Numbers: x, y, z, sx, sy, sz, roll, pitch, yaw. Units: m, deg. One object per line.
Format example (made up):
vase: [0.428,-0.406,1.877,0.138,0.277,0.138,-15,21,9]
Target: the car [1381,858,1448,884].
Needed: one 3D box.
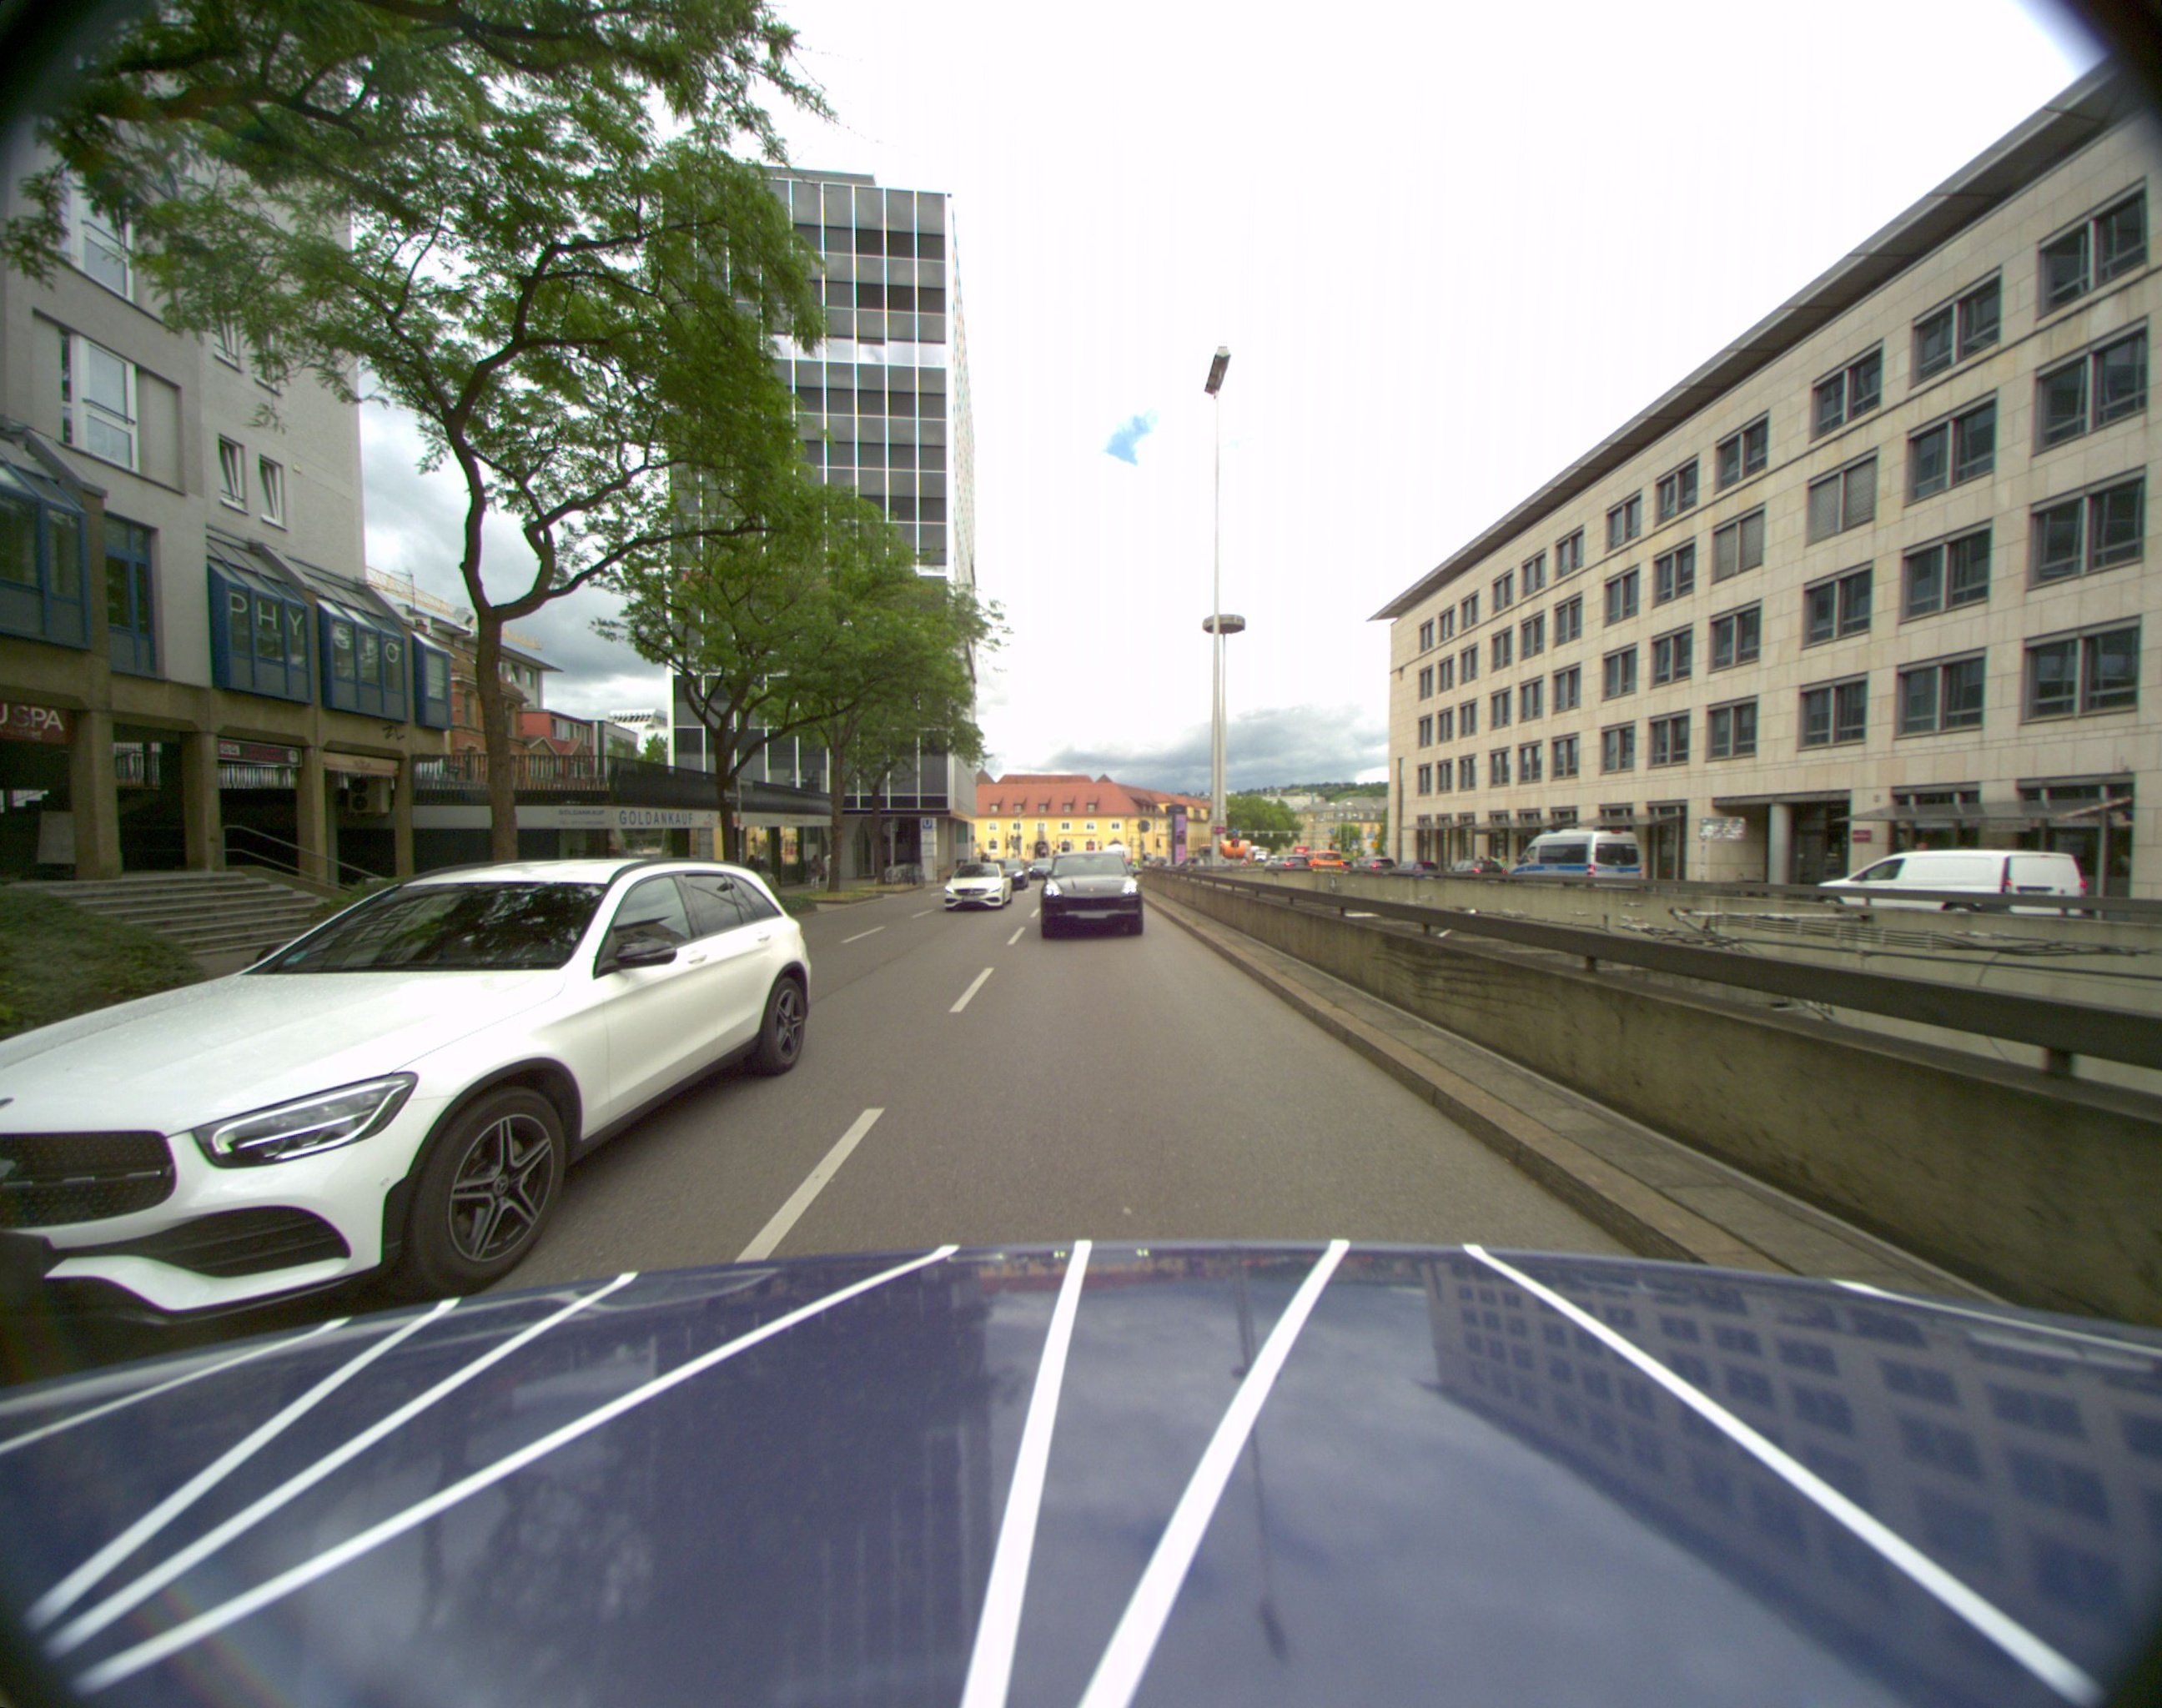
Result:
car: [19.562,0.968,44.791,1.998,1.387,4.573,0,0,1]

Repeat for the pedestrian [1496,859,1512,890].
pedestrian: [22.845,1.107,41.017,0.501,1.615,0.627,0,1,0]

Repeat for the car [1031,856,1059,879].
car: [-2.480,0.891,52.587,1.707,1.524,3.763,0,0,0]

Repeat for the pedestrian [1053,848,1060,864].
pedestrian: [-2.897,0.264,90.443,0.670,1.852,0.701,-1,1,-21]

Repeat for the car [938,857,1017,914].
car: [-3.200,0.932,24.437,1.870,1.560,4.651,-1,0,0]

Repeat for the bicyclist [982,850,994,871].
bicyclist: [-8.181,0.540,67.077,0.811,1.835,0.676,2,2,27]

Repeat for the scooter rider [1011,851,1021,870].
scooter rider: [-5.990,0.598,69.829,0.594,1.798,0.641,0,2,-41]

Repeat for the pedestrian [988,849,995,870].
pedestrian: [-7.410,0.421,63.066,0.526,1.702,0.752,1,3,-5]

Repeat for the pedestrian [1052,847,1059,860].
pedestrian: [-3.169,-0.065,93.668,0.611,1.686,0.641,-1,1,-23]

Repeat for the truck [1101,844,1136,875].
truck: [3.593,0.480,72.250,1.952,2.767,5.796,1,1,16]

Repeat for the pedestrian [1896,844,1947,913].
pedestrian: [23.300,0.668,21.075,0.618,1.864,0.680,0,1,-1]

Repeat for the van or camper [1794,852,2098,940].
van or camper: [19.542,0.841,17.549,1.872,1.741,4.486,0,0,-1]

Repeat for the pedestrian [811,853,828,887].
pedestrian: [-12.727,0.783,36.944,0.597,1.619,0.757,1,1,-5]

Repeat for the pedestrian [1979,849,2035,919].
pedestrian: [23.439,0.741,19.240,0.553,1.743,0.680,0,1,-1]

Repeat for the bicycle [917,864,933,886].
bicycle: [-8.314,1.099,40.466,0.491,1.126,1.843,0,1,0]

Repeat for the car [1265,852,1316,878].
car: [13.098,0.636,47.720,1.923,1.518,4.541,0,0,-1]

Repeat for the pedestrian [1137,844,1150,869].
pedestrian: [5.481,0.239,66.408,0.879,2.160,0.761,0,1,-18]

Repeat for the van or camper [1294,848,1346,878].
van or camper: [16.116,0.583,51.561,1.918,1.910,5.083,1,0,0]

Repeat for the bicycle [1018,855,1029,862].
bicycle: [-9.727,0.745,128.737,1.769,1.079,0.622,0,1,10]

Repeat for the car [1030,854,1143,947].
car: [0.163,0.865,16.264,2.004,1.628,5.021,-1,0,1]

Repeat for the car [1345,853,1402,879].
car: [19.504,0.764,50.883,1.998,1.636,4.682,1,0,0]

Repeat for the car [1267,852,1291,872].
car: [16.958,0.670,65.194,1.737,1.589,4.322,1,1,12]

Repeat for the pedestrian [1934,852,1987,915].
pedestrian: [22.340,0.730,19.307,0.553,1.567,0.680,0,1,-1]

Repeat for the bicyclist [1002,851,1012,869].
bicyclist: [-6.676,0.545,68.765,0.566,1.541,0.844,0,2,-28]

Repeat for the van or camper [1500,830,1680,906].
van or camper: [20.000,0.488,30.405,3.009,2.710,6.245,0,0,0]

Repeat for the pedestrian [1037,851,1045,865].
pedestrian: [-4.762,0.488,89.859,0.802,1.688,0.547,0,1,-18]

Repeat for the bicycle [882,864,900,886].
bicycle: [-10.182,1.099,40.734,0.490,1.126,1.688,0,1,1]

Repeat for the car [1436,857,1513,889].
car: [19.740,0.918,38.287,1.773,1.440,4.030,2,1,0]

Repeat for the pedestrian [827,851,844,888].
pedestrian: [-12.003,0.747,37.114,0.597,1.744,0.940,1,1,-5]

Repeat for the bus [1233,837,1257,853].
bus: [36.283,-1.995,167.825,3.428,3.185,13.080,-3,0,20]

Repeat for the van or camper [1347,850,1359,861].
van or camper: [66.864,0.371,186.991,2.143,2.463,6.167,0,0,13]

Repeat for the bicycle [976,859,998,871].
bicycle: [-8.304,0.947,67.161,1.763,1.001,0.682,1,-1,25]

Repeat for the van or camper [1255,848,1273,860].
van or camper: [36.876,-0.049,153.190,2.369,2.249,6.298,1,1,24]

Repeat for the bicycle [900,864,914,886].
bicycle: [-9.290,1.104,40.555,0.491,1.126,1.886,0,1,-6]

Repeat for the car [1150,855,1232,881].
car: [6.283,0.789,43.426,4.559,1.450,1.882,0,1,8]

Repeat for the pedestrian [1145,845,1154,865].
pedestrian: [6.365,0.094,70.438,0.717,1.780,0.634,3,0,0]

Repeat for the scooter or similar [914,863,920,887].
scooter or similar: [-8.837,1.139,40.891,0.307,1.244,0.995,0,1,-13]

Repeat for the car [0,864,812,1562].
car: [-3.120,0.952,4.065,1.806,1.637,4.333,-1,1,-1]

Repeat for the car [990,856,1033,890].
car: [-3.282,0.885,36.684,1.707,1.524,3.763,0,0,0]

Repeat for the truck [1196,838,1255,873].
truck: [18.855,0.125,98.755,2.718,3.600,9.192,10,11,43]

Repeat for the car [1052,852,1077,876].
car: [-1.353,0.787,65.180,1.859,1.976,4.642,0,0,2]
